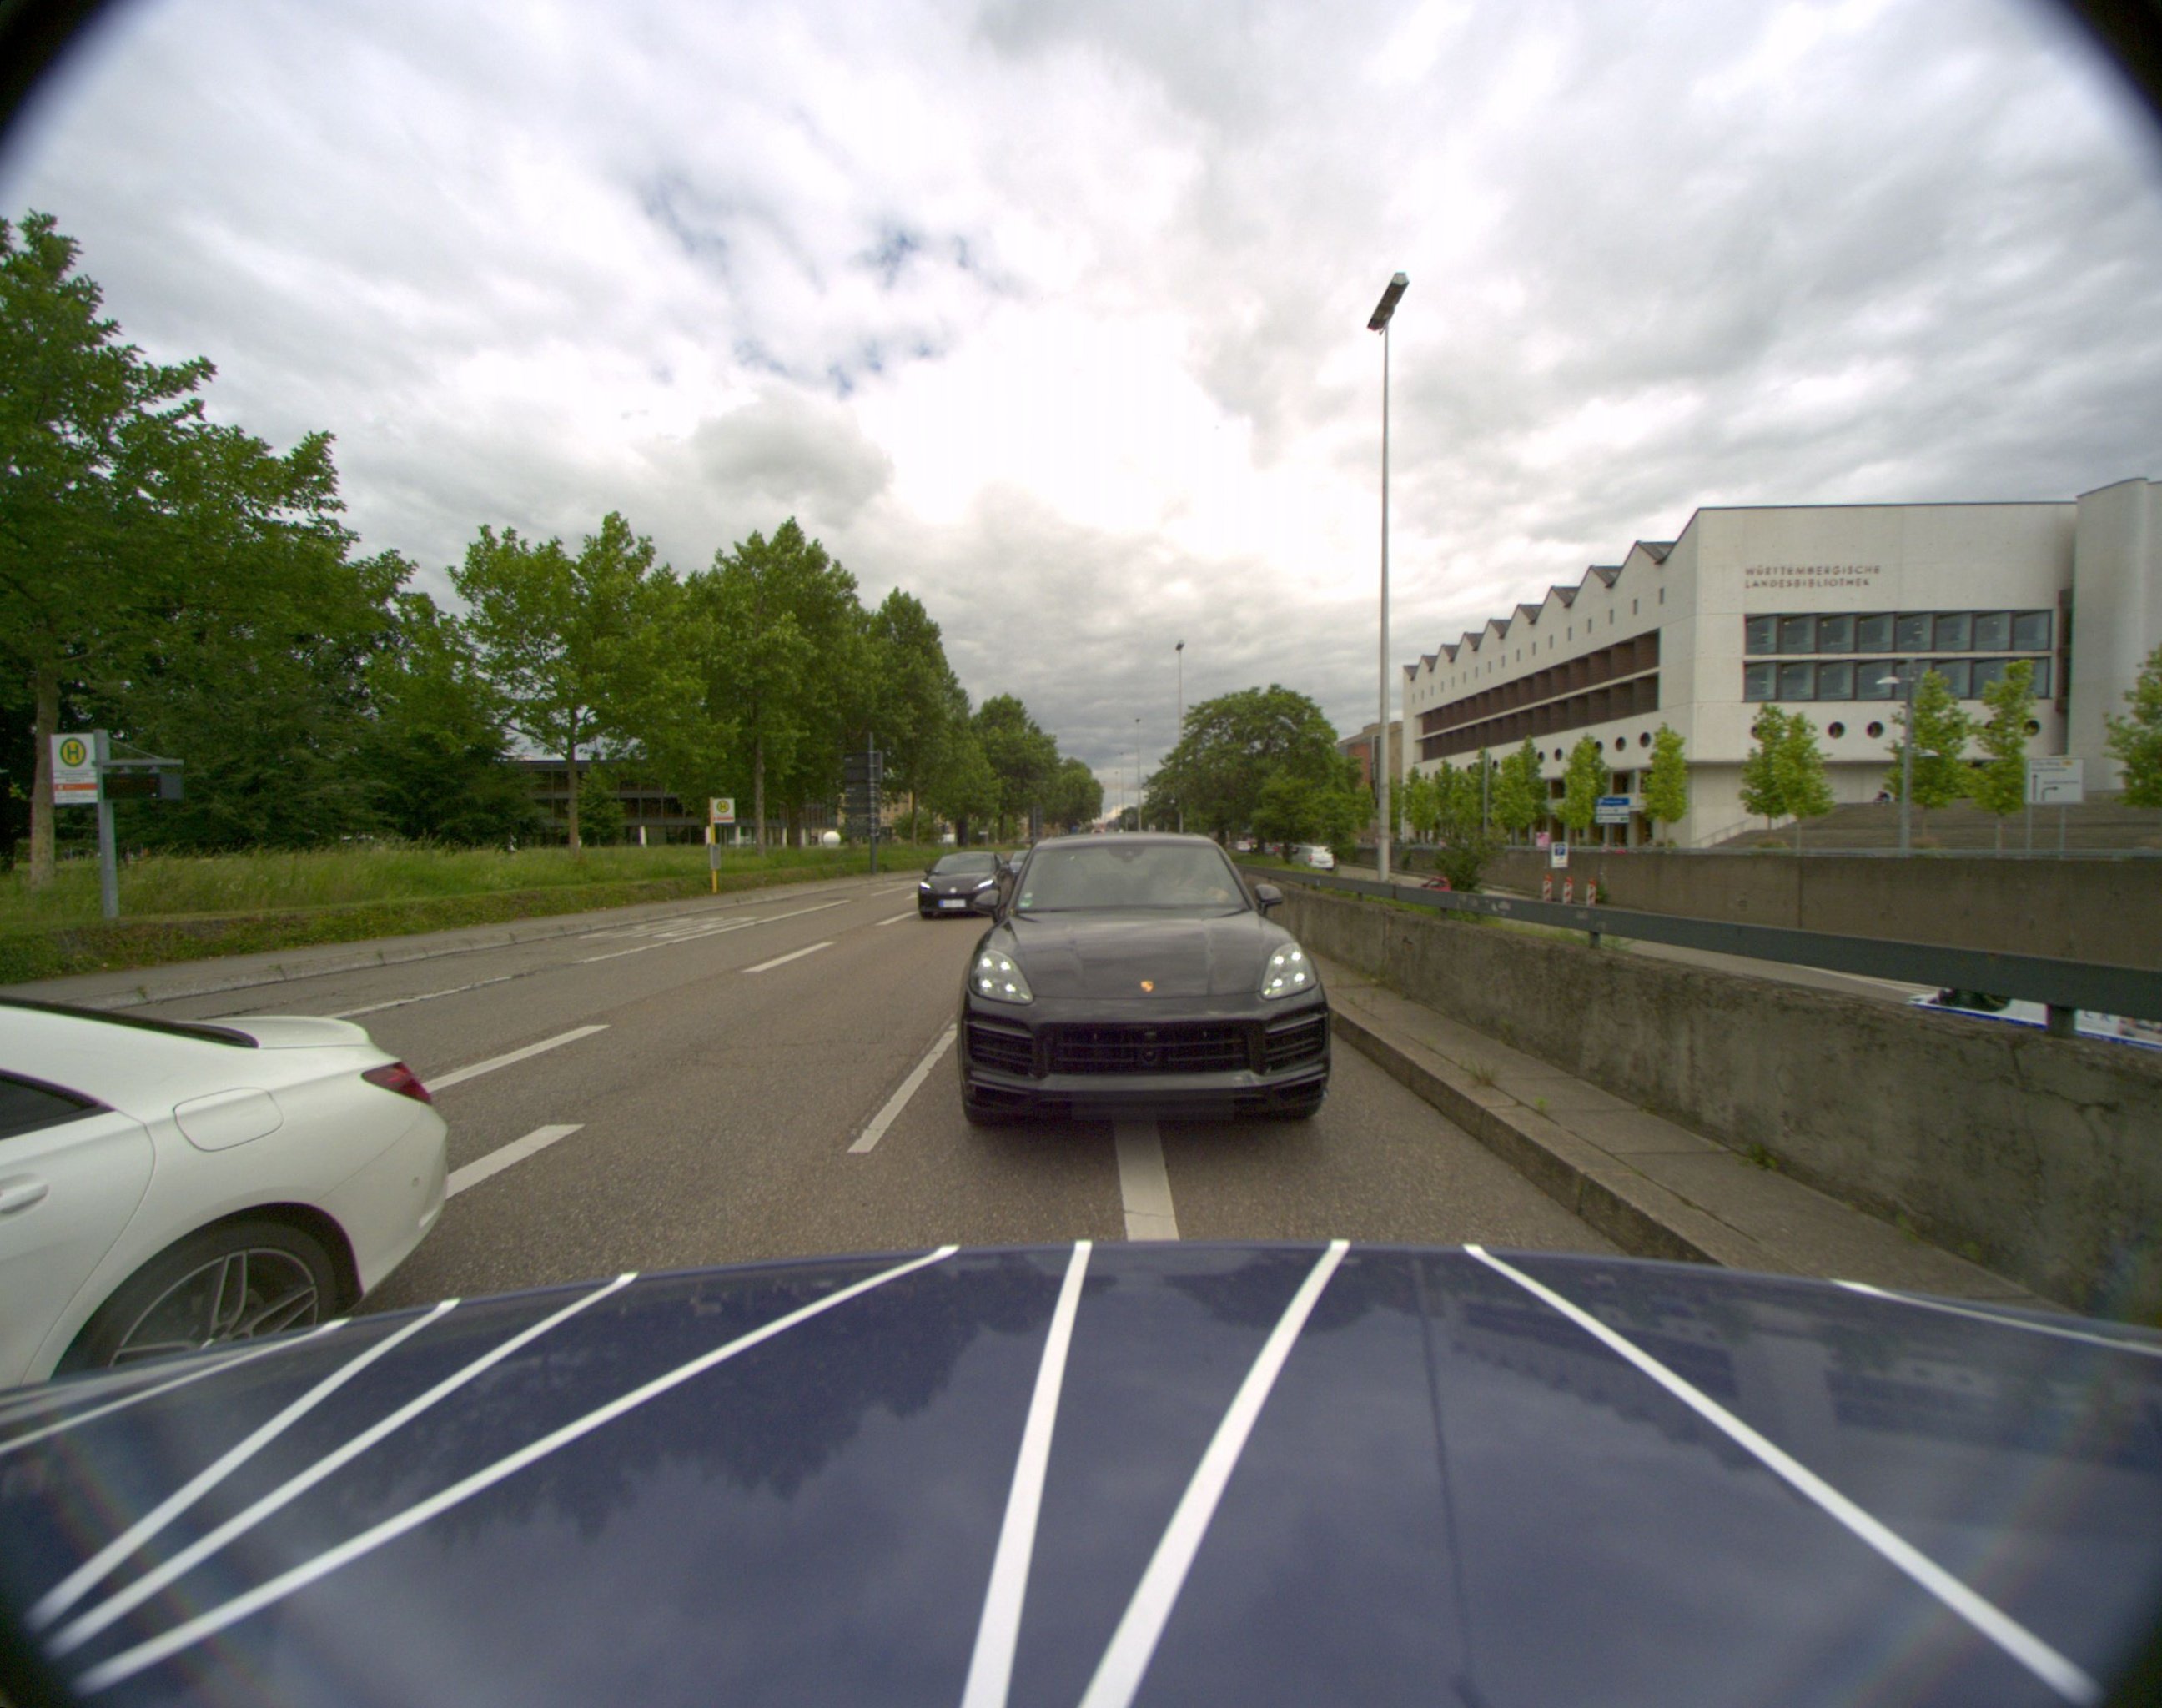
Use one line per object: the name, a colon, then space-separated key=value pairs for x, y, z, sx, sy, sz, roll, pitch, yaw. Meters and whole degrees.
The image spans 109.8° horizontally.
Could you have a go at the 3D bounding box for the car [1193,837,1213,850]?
car: x=16.842 y=-1.508 z=104.676 sx=1.998 sy=1.665 sz=4.516 roll=2 pitch=1 yaw=0

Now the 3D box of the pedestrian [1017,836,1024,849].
pedestrian: x=-9.691 y=-1.848 z=121.339 sx=0.892 sy=2.002 sz=1.181 roll=-3 pitch=2 yaw=2

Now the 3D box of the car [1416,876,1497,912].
car: x=17.774 y=1.855 z=36.196 sx=1.998 sy=1.477 sz=4.000 roll=-1 pitch=1 yaw=2

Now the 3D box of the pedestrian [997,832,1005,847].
pedestrian: x=-11.102 y=-2.048 z=105.381 sx=0.892 sy=2.002 sz=1.181 roll=-3 pitch=2 yaw=2

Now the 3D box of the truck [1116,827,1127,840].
truck: x=11.299 y=-5.782 z=211.619 sx=2.576 sy=3.289 sz=8.079 roll=-3 pitch=2 yaw=2

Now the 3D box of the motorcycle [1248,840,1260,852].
motorcycle: x=17.772 y=-0.846 z=78.128 sx=0.687 sy=1.092 sz=2.049 roll=3 pitch=4 yaw=1

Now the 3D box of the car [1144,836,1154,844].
car: x=11.969 y=-2.487 z=133.960 sx=1.372 sy=1.390 sz=3.721 roll=2 pitch=1 yaw=0

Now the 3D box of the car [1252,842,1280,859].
car: x=20.616 y=-0.424 z=84.819 sx=1.875 sy=1.604 sz=4.386 roll=0 pitch=4 yaw=-3

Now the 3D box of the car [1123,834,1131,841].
car: x=10.573 y=-3.794 z=174.370 sx=1.442 sy=1.390 sz=3.721 roll=2 pitch=1 yaw=0

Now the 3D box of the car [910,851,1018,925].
car: x=-2.707 y=0.736 z=18.557 sx=1.852 sy=1.481 sz=4.092 roll=-1 pitch=1 yaw=2

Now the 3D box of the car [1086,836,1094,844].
car: x=2.308 y=-3.525 z=193.724 sx=1.693 sy=2.002 sz=3.999 roll=-3 pitch=2 yaw=2

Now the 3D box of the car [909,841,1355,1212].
car: x=0.346 y=0.727 z=5.671 sx=1.904 sy=1.581 sz=4.732 roll=-1 pitch=1 yaw=3

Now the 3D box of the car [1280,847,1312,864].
car: x=20.575 y=0.107 z=72.877 sx=1.810 sy=1.321 sz=4.002 roll=0 pitch=4 yaw=0

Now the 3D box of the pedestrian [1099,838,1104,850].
pedestrian: x=3.476 y=-1.660 z=127.576 sx=0.792 sy=2.002 sz=0.741 roll=-1 pitch=0 yaw=2

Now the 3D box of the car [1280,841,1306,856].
car: x=26.198 y=-0.717 z=94.103 sx=1.998 sy=1.753 sz=3.999 roll=2 pitch=2 yaw=0

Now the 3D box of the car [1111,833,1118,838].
car: x=11.113 y=-6.072 z=250.692 sx=1.998 sy=1.753 sz=3.999 roll=2 pitch=2 yaw=0

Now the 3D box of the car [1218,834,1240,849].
car: x=17.283 y=-1.458 z=88.813 sx=1.779 sy=1.481 sz=4.143 roll=0 pitch=4 yaw=0

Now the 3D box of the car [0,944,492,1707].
car: x=-3.165 y=1.103 z=0.535 sx=1.799 sy=1.412 sz=4.526 roll=-1 pitch=1 yaw=2

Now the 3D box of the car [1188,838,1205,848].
car: x=17.179 y=-1.590 z=113.133 sx=1.998 sy=1.390 sz=3.999 roll=2 pitch=1 yaw=0

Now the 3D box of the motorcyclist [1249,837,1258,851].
motorcyclist: x=17.784 y=-1.051 z=78.163 sx=0.671 sy=1.345 sz=0.717 roll=3 pitch=4 yaw=0

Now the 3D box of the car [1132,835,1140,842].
car: x=11.625 y=-3.288 z=161.380 sx=1.372 sy=1.389 sz=3.722 roll=-1 pitch=-1 yaw=-1

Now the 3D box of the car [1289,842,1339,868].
car: x=17.762 y=0.030 z=58.238 sx=1.999 sy=1.630 sz=5.246 roll=5 pitch=3 yaw=-1

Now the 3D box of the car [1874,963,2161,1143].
car: x=17.006 y=3.220 z=12.673 sx=2.224 sy=2.002 sz=5.115 roll=-1 pitch=1 yaw=0

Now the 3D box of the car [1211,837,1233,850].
car: x=20.654 y=-1.537 z=111.474 sx=2.161 sy=1.636 sz=4.515 roll=2 pitch=3 yaw=-1

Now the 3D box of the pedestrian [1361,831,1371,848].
pedestrian: x=35.995 y=-1.846 z=95.969 sx=0.722 sy=2.002 sz=1.016 roll=-3 pitch=2 yaw=2

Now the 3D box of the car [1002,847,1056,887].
car: x=-2.067 y=0.487 z=31.450 sx=1.805 sy=1.426 sz=4.015 roll=-1 pitch=1 yaw=2

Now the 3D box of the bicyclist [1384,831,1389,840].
bicyclist: x=37.487 y=-2.282 z=93.245 sx=0.403 sy=1.154 sz=0.643 roll=-3 pitch=2 yaw=-1

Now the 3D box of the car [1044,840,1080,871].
car: x=-1.165 y=0.056 z=48.933 sx=2.021 sy=1.823 sz=4.804 roll=-1 pitch=1 yaw=2

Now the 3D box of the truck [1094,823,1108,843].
truck: x=3.740 y=-3.932 z=142.654 sx=2.357 sy=3.518 sz=9.423 roll=-3 pitch=2 yaw=2
